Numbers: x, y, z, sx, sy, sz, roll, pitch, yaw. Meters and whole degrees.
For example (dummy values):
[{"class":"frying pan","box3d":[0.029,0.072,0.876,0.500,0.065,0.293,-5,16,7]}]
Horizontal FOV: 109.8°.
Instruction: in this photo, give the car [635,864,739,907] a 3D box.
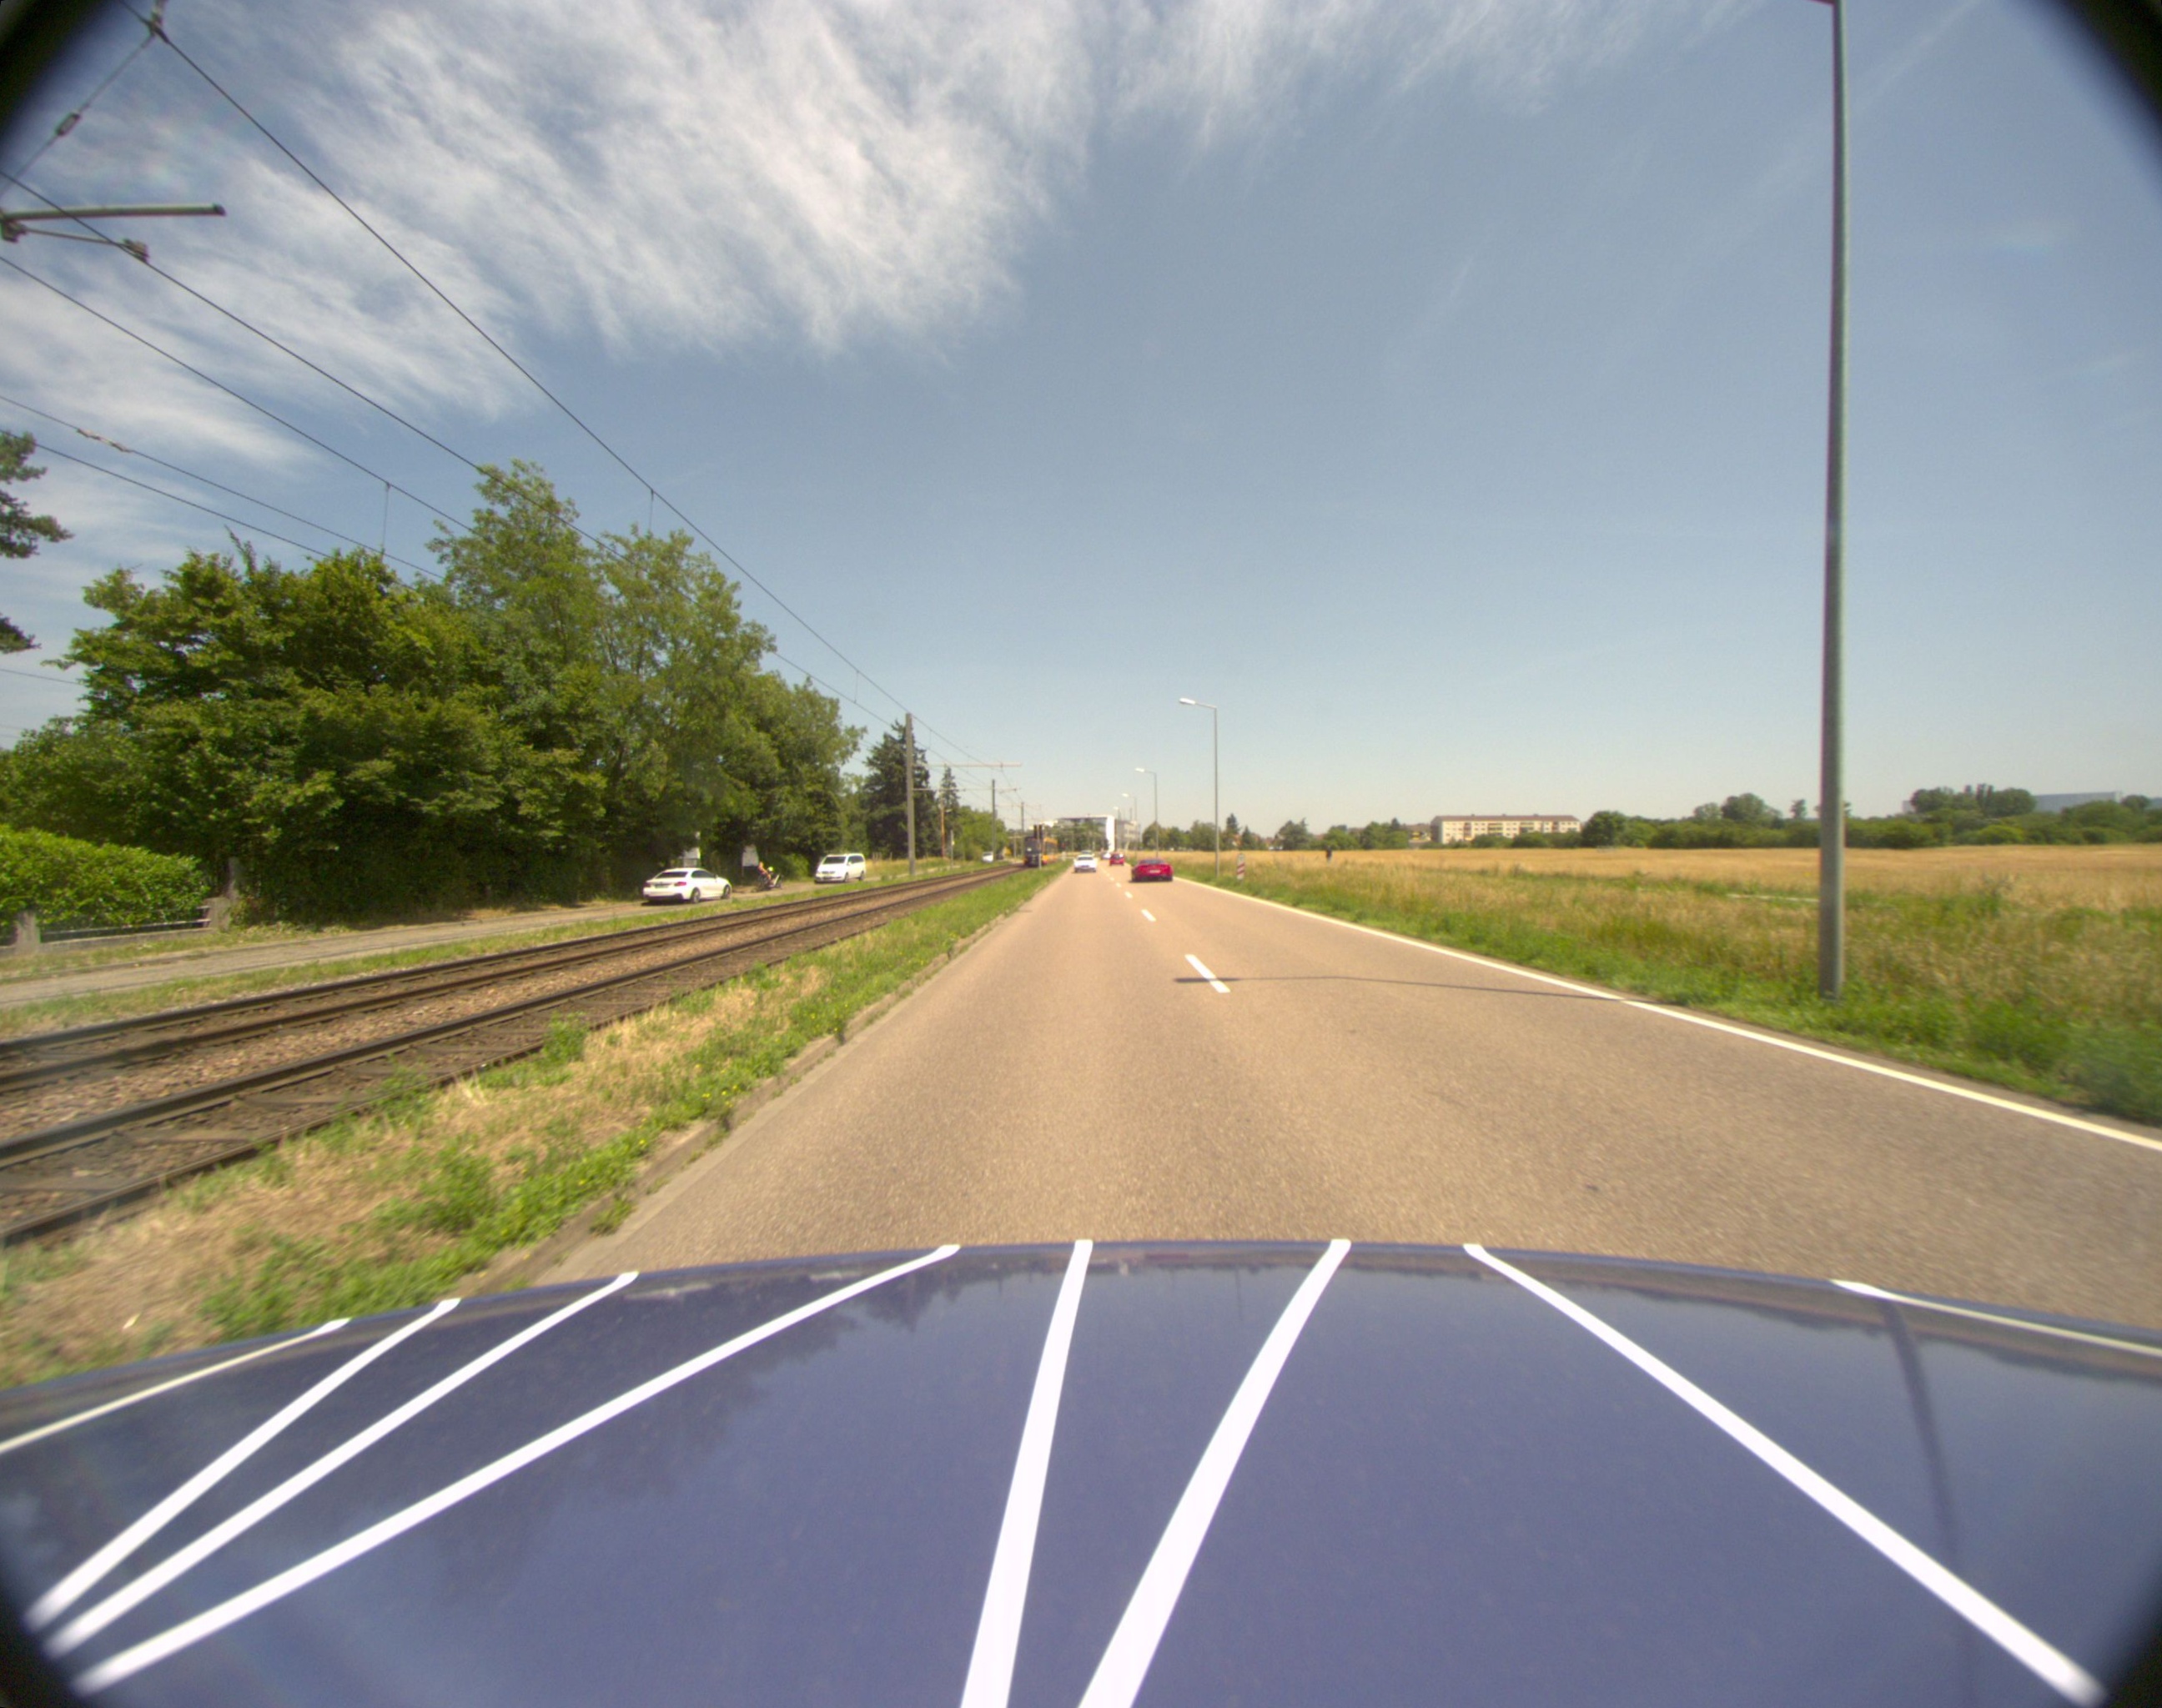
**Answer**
[{"class":"car","box3d":[-15.980,1.242,31.146,1.801,1.441,4.628,-1,1,1]}]

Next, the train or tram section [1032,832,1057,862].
[{"class":"train or tram section","box3d":[-4.590,-0.961,96.914,2.708,3.745,6.727,-1,1,1]}]

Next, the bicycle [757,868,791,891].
[{"class":"bicycle","box3d":[-16.532,1.373,40.967,1.148,1.140,1.658,-1,2,0]}]

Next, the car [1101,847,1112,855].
[{"class":"car","box3d":[4.467,-0.563,135.318,1.839,1.458,4.678,-1,0,1]}]

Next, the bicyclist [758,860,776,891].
[{"class":"bicyclist","box3d":[-16.552,1.107,40.064,0.610,1.579,0.925,-1,2,-4]}]

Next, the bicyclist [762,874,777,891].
[{"class":"bicyclist","box3d":[-16.825,1.523,41.017,0.524,0.871,0.762,-1,2,-4]}]

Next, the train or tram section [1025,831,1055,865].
[{"class":"train or tram section","box3d":[-4.640,-0.777,87.902,2.772,3.668,11.183,-1,1,1]}]

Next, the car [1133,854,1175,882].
[{"class":"car","box3d":[3.739,0.674,39.530,1.812,1.278,4.285,-1,1,1]}]

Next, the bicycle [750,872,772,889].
[{"class":"bicycle","box3d":[-16.697,1.375,39.675,0.751,0.870,0.798,-1,2,0]}]

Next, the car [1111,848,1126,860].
[{"class":"car","box3d":[4.398,-0.004,89.257,1.649,1.392,3.843,-1,1,1]}]

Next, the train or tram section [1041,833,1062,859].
[{"class":"train or tram section","box3d":[-4.278,-1.278,112.831,2.435,3.745,11.556,-1,1,1]}]

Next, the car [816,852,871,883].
[{"class":"car","box3d":[-15.757,0.849,50.703,1.998,1.865,5.013,-1,1,1]}]

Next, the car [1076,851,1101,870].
[{"class":"car","box3d":[0.700,0.531,63.715,1.771,1.434,4.130,0,1,5]}]

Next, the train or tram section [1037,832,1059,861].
[{"class":"train or tram section","box3d":[-4.413,-1.074,103.648,2.567,3.692,6.727,-1,1,1]}]
